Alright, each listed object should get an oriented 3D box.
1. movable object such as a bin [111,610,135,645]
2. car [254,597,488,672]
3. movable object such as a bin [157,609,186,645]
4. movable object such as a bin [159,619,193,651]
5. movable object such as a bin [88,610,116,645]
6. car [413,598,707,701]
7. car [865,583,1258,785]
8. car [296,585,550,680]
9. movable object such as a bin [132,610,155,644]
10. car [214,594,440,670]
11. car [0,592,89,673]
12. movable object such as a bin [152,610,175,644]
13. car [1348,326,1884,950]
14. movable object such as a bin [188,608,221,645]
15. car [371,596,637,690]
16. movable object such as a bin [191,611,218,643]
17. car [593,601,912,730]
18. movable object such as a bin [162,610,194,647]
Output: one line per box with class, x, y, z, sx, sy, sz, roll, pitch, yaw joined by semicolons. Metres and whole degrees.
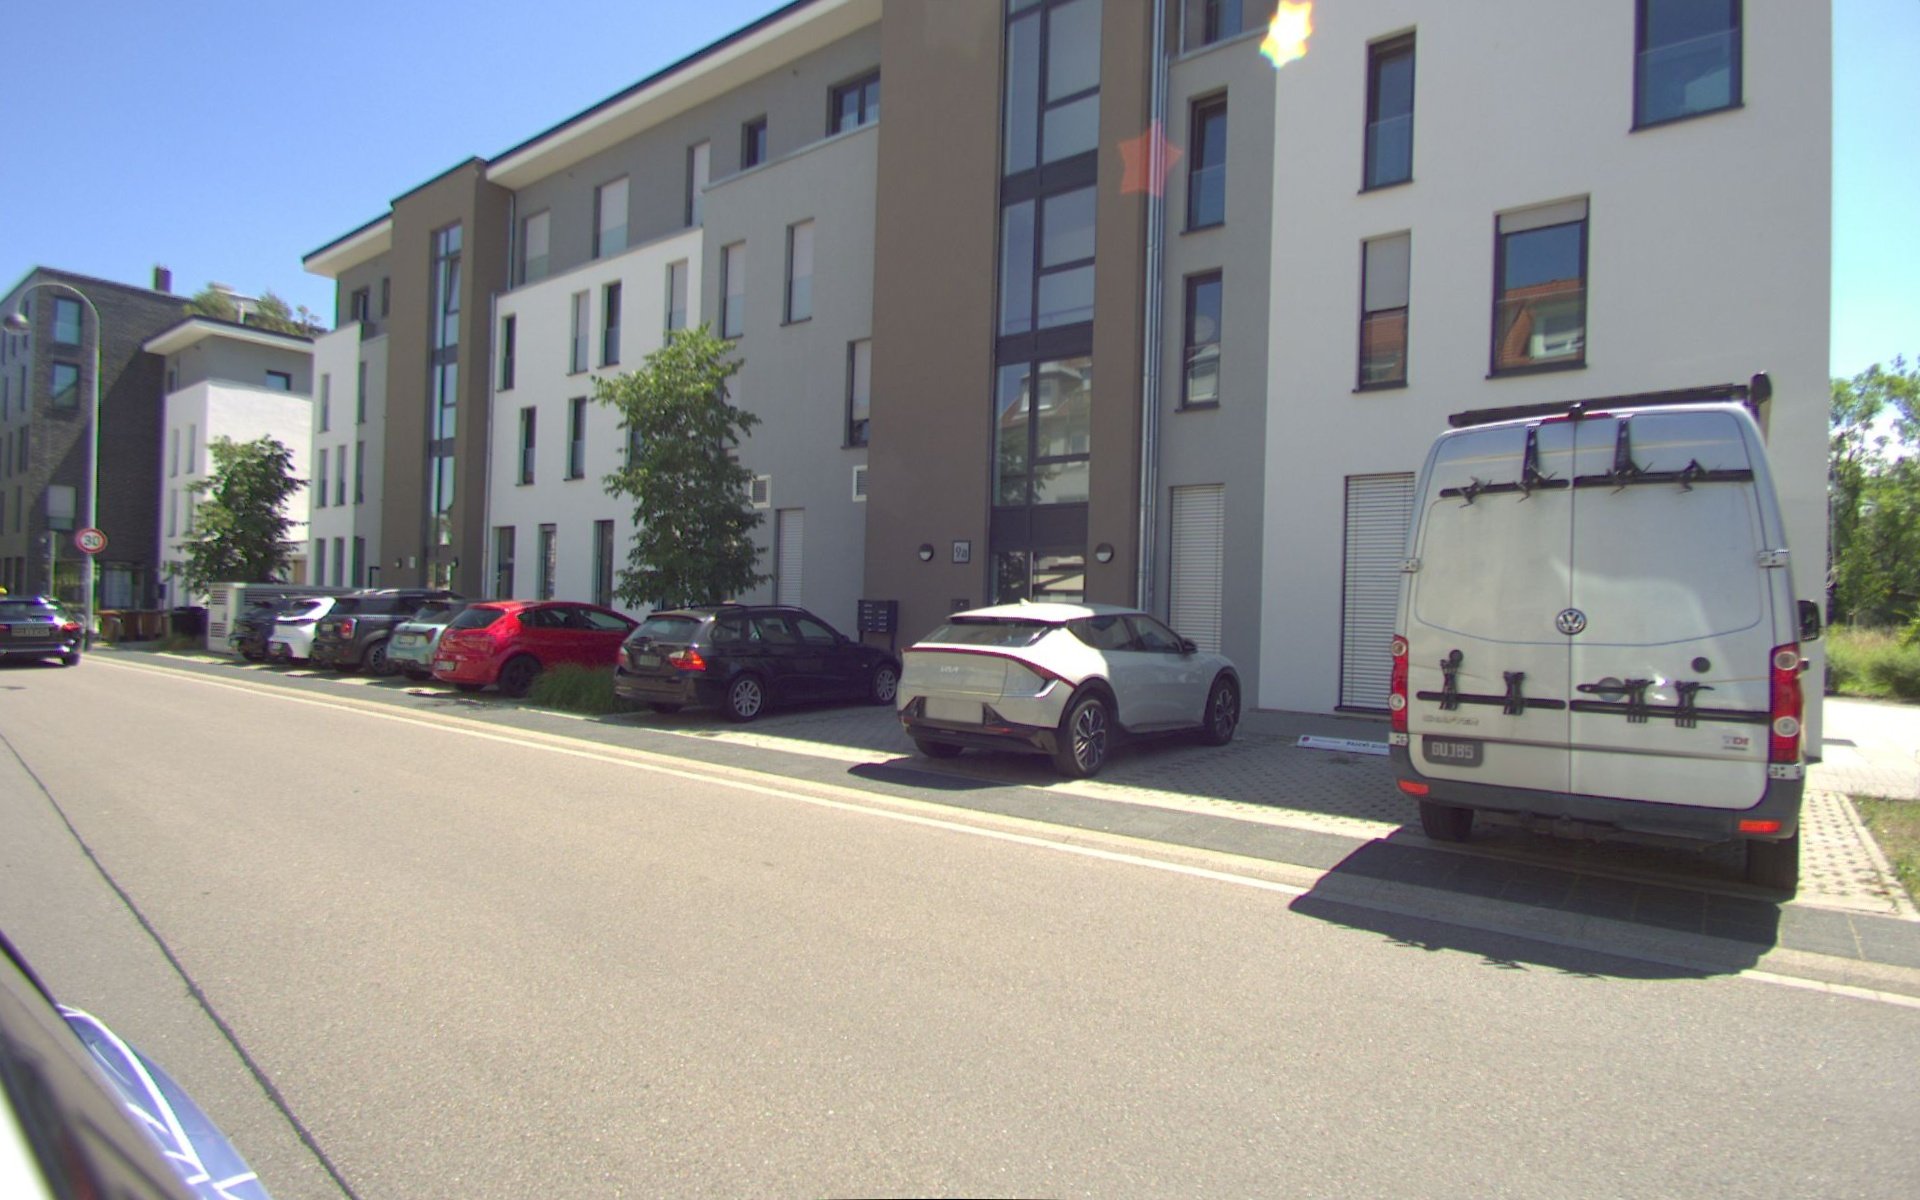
movable object such as a bin;-24.838;0.817;30.022;0.555;1.005;0.399;1;-1;37
car;-12.515;0.658;21.692;1.908;1.432;3.948;1;1;38
movable object such as a bin;-22.289;0.763;28.592;0.427;1.005;0.548;1;-1;39
movable object such as a bin;-21.859;0.975;28.221;0.478;0.874;0.552;1;-1;21
movable object such as a bin;-25.110;0.796;29.619;0.587;1.005;0.478;1;-1;37
car;-6.397;0.701;16.503;1.999;1.441;3.991;1;1;40
car;1.263;0.656;10.425;1.997;1.603;4.411;1;1;38
car;-10.510;0.570;20.005;1.999;1.663;3.991;1;1;40
movable object such as a bin;-24.515;0.801;30.388;0.555;1.005;0.399;1;-1;37
car;-14.295;0.655;23.028;1.998;1.527;3.947;1;1;39
car;-20.147;0.639;21.333;4.793;1.565;1.875;0;0;39
movable object such as a bin;-24.203;0.811;30.751;0.555;1.005;0.399;1;-1;37
car;4.954;0.156;7.425;2.289;2.753;5.711;1;1;39
movable object such as a bin;-21.774;0.765;29.166;0.541;1.047;0.552;1;-1;21
car;-8.233;0.694;18.521;1.999;1.508;3.991;1;1;40
movable object such as a bin;-23.859;0.847;31.948;0.586;1.005;0.479;1;-1;31
car;-2.641;0.748;13.827;1.881;1.448;4.165;1;1;34
movable object such as a bin;-22.625;0.816;29.282;0.559;1.028;0.549;1;-1;34
